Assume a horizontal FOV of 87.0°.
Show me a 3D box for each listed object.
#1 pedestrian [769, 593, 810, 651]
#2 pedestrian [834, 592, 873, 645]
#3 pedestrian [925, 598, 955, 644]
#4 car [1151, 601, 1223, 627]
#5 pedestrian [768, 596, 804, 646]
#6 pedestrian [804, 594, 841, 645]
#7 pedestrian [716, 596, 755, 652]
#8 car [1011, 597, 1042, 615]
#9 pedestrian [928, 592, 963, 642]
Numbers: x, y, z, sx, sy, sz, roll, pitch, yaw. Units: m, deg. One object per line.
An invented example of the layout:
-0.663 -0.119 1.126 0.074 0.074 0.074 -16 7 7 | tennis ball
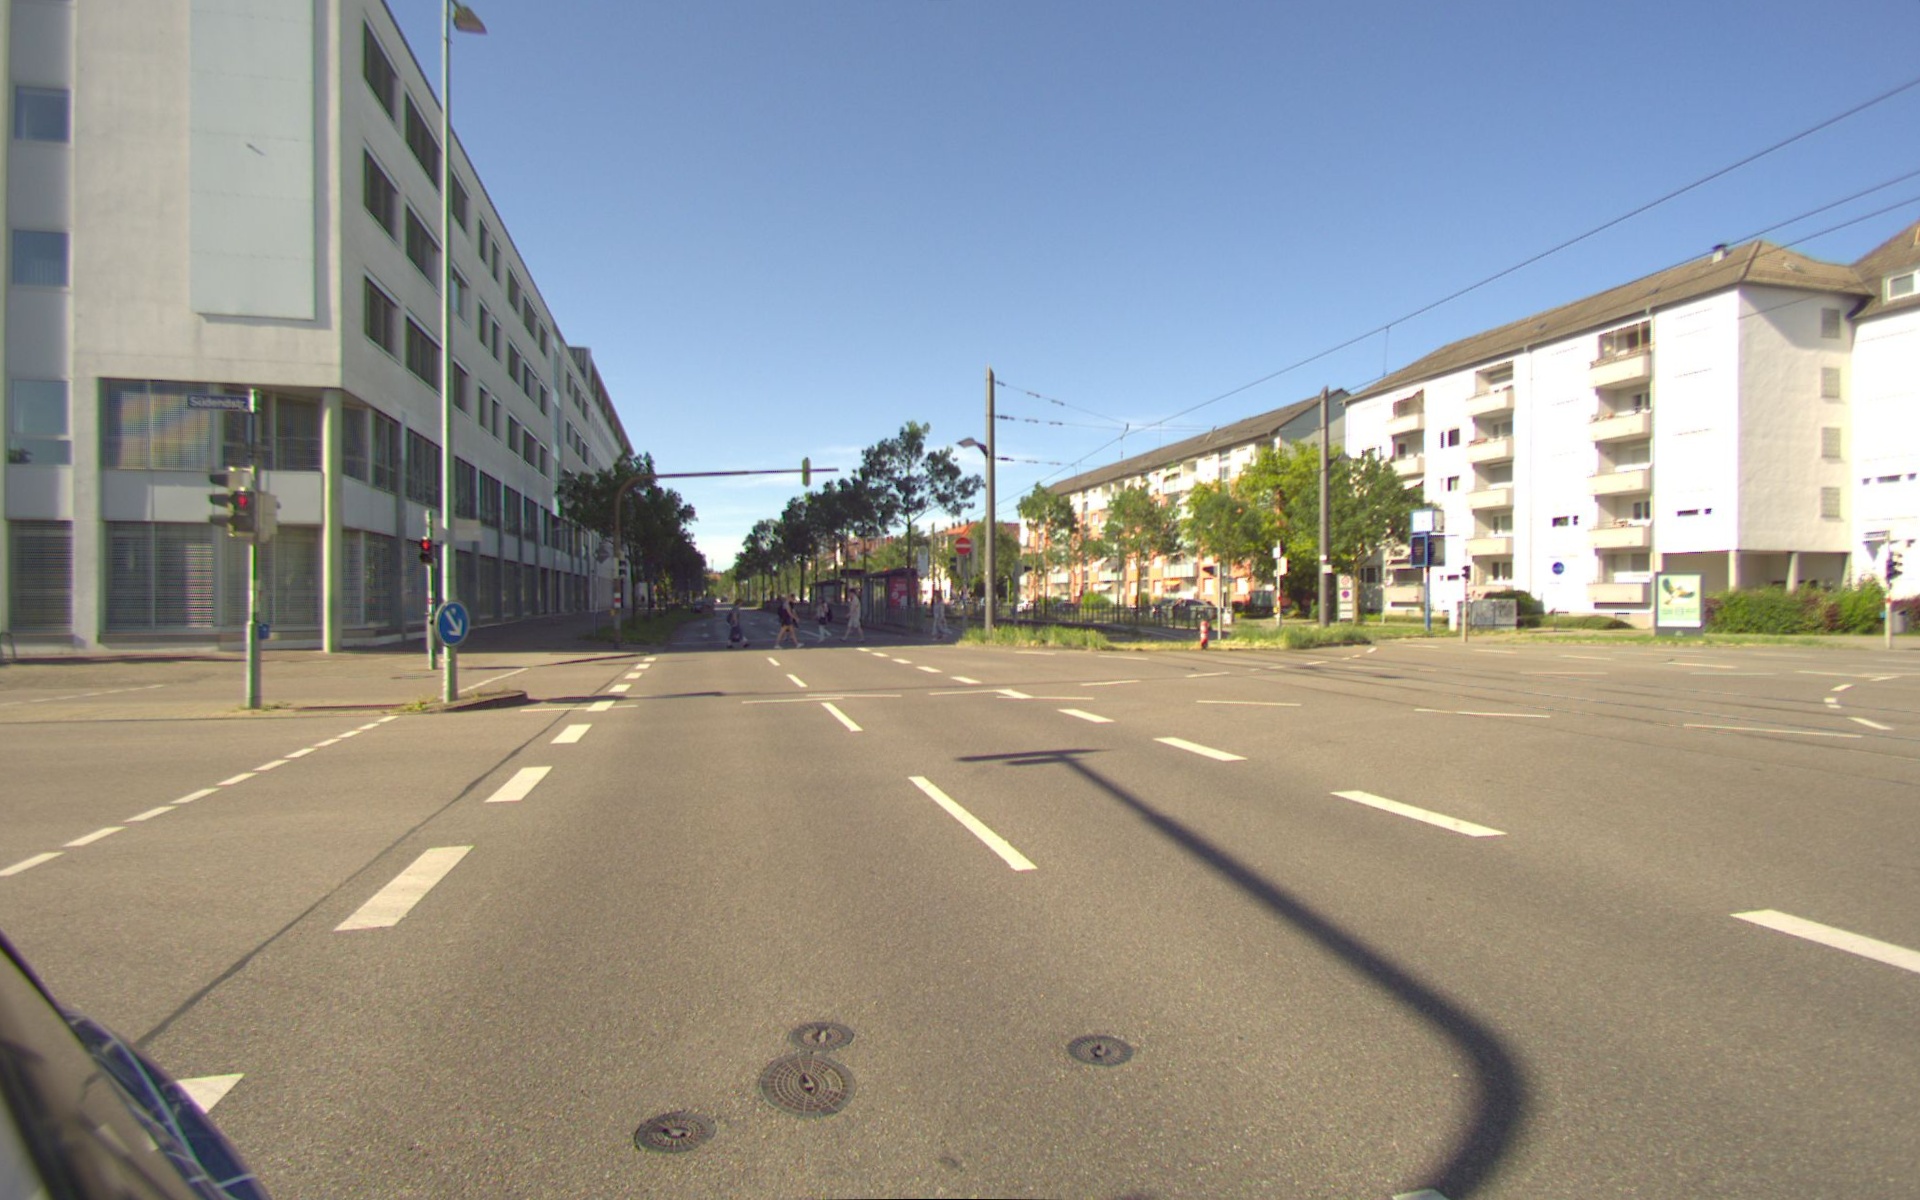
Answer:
-5.215 0.676 30.936 1.134 1.739 0.816 0 -1 -19 | pedestrian
-3.656 0.627 34.596 1.134 1.784 0.927 0 -1 -19 | pedestrian
-0.679 0.712 34.877 0.843 1.545 0.728 0 -1 -19 | pedestrian
14.828 0.889 66.094 4.374 1.442 1.680 2 2 25 | car
-6.169 0.732 35.923 1.134 1.739 0.816 0 -1 -19 | pedestrian
-4.784 0.671 35.298 1.134 1.739 0.816 0 -1 -19 | pedestrian
-7.179 0.749 32.295 1.134 1.739 0.816 0 -1 -19 | pedestrian
6.795 0.618 104.086 1.966 1.863 4.012 0 -1 -16 | car
-0.528 0.593 36.154 0.809 1.739 1.143 -1 -1 27 | pedestrian
